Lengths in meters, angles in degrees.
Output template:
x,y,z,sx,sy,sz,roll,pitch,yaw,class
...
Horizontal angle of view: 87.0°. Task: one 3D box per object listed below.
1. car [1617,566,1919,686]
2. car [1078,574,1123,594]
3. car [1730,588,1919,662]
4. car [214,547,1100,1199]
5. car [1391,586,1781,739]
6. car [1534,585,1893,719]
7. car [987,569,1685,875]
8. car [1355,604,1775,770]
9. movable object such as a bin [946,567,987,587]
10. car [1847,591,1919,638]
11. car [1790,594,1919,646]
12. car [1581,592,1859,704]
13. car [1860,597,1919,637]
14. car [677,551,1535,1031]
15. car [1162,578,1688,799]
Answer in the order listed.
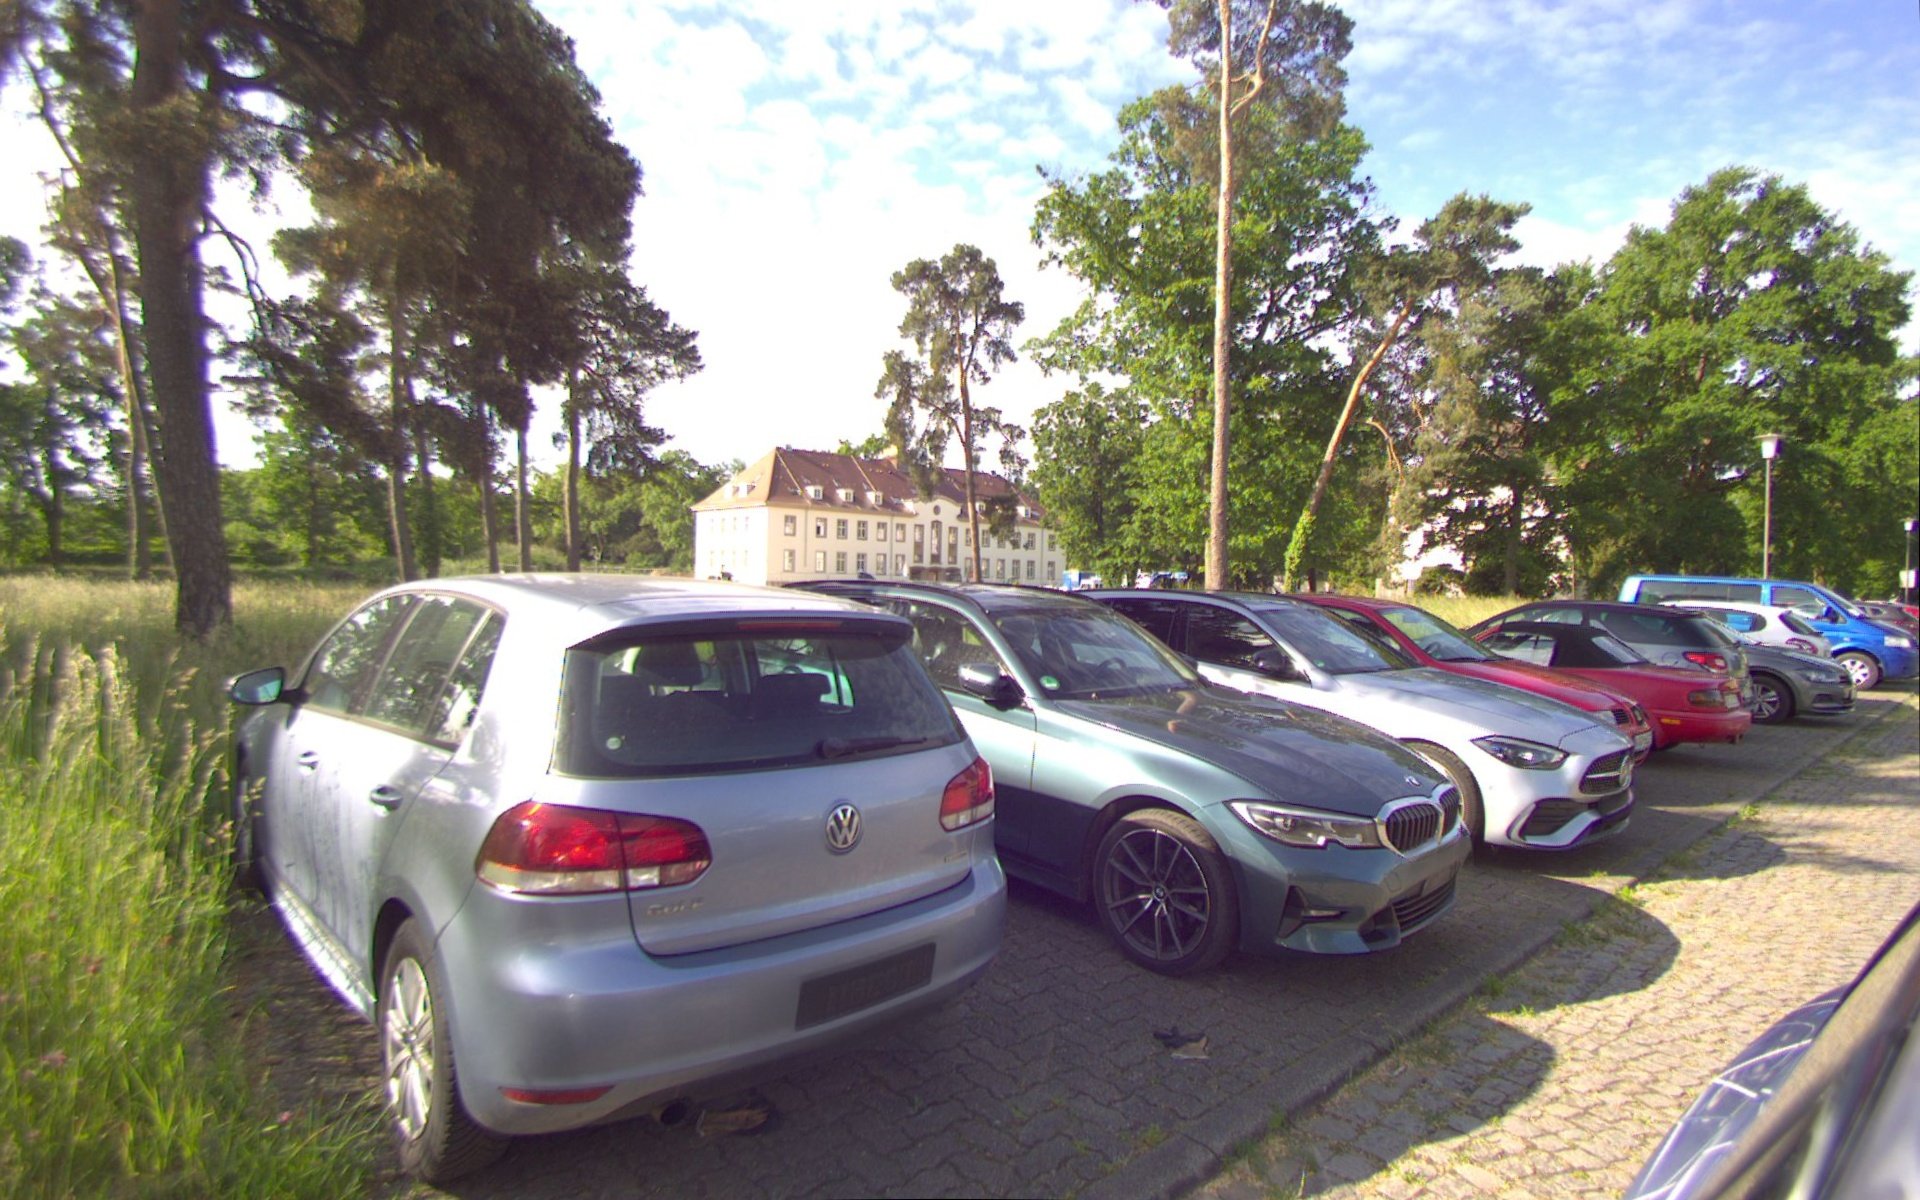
x,y,z,sx,sy,sz,roll,pitch,yaw,class
15.759,0.393,19.601,1.965,2.039,4.725,0,1,-40,car
14.567,-1.627,104.998,4.689,2.039,1.997,0,1,-41,car
22.174,0.566,25.602,1.725,1.660,3.997,0,1,-38,car
-1.597,0.564,4.020,1.839,1.478,4.022,0,2,-42,car
7.470,0.628,12.356,1.523,1.509,3.775,0,2,-42,car
10.072,0.590,13.799,1.478,1.509,3.629,0,1,-32,car
2.377,0.568,7.379,1.795,1.419,4.419,0,3,-42,car
5.911,0.731,10.152,1.395,1.271,3.353,0,2,-42,car
0.798,-2.784,122.273,1.994,2.352,4.907,2,1,44,movable object such as a bin
37.132,0.547,39.171,1.725,1.763,3.996,0,0,-38,car
29.532,0.612,32.655,1.725,1.537,3.997,0,1,-38,car
11.888,0.665,15.983,1.423,1.509,3.264,0,1,-39,car
40.578,0.700,42.405,1.724,1.635,3.997,-1,-1,-37,car
0.386,0.551,5.576,1.796,1.535,4.498,0,3,-45,car
3.913,0.583,9.037,1.632,1.410,3.914,0,3,-42,car
